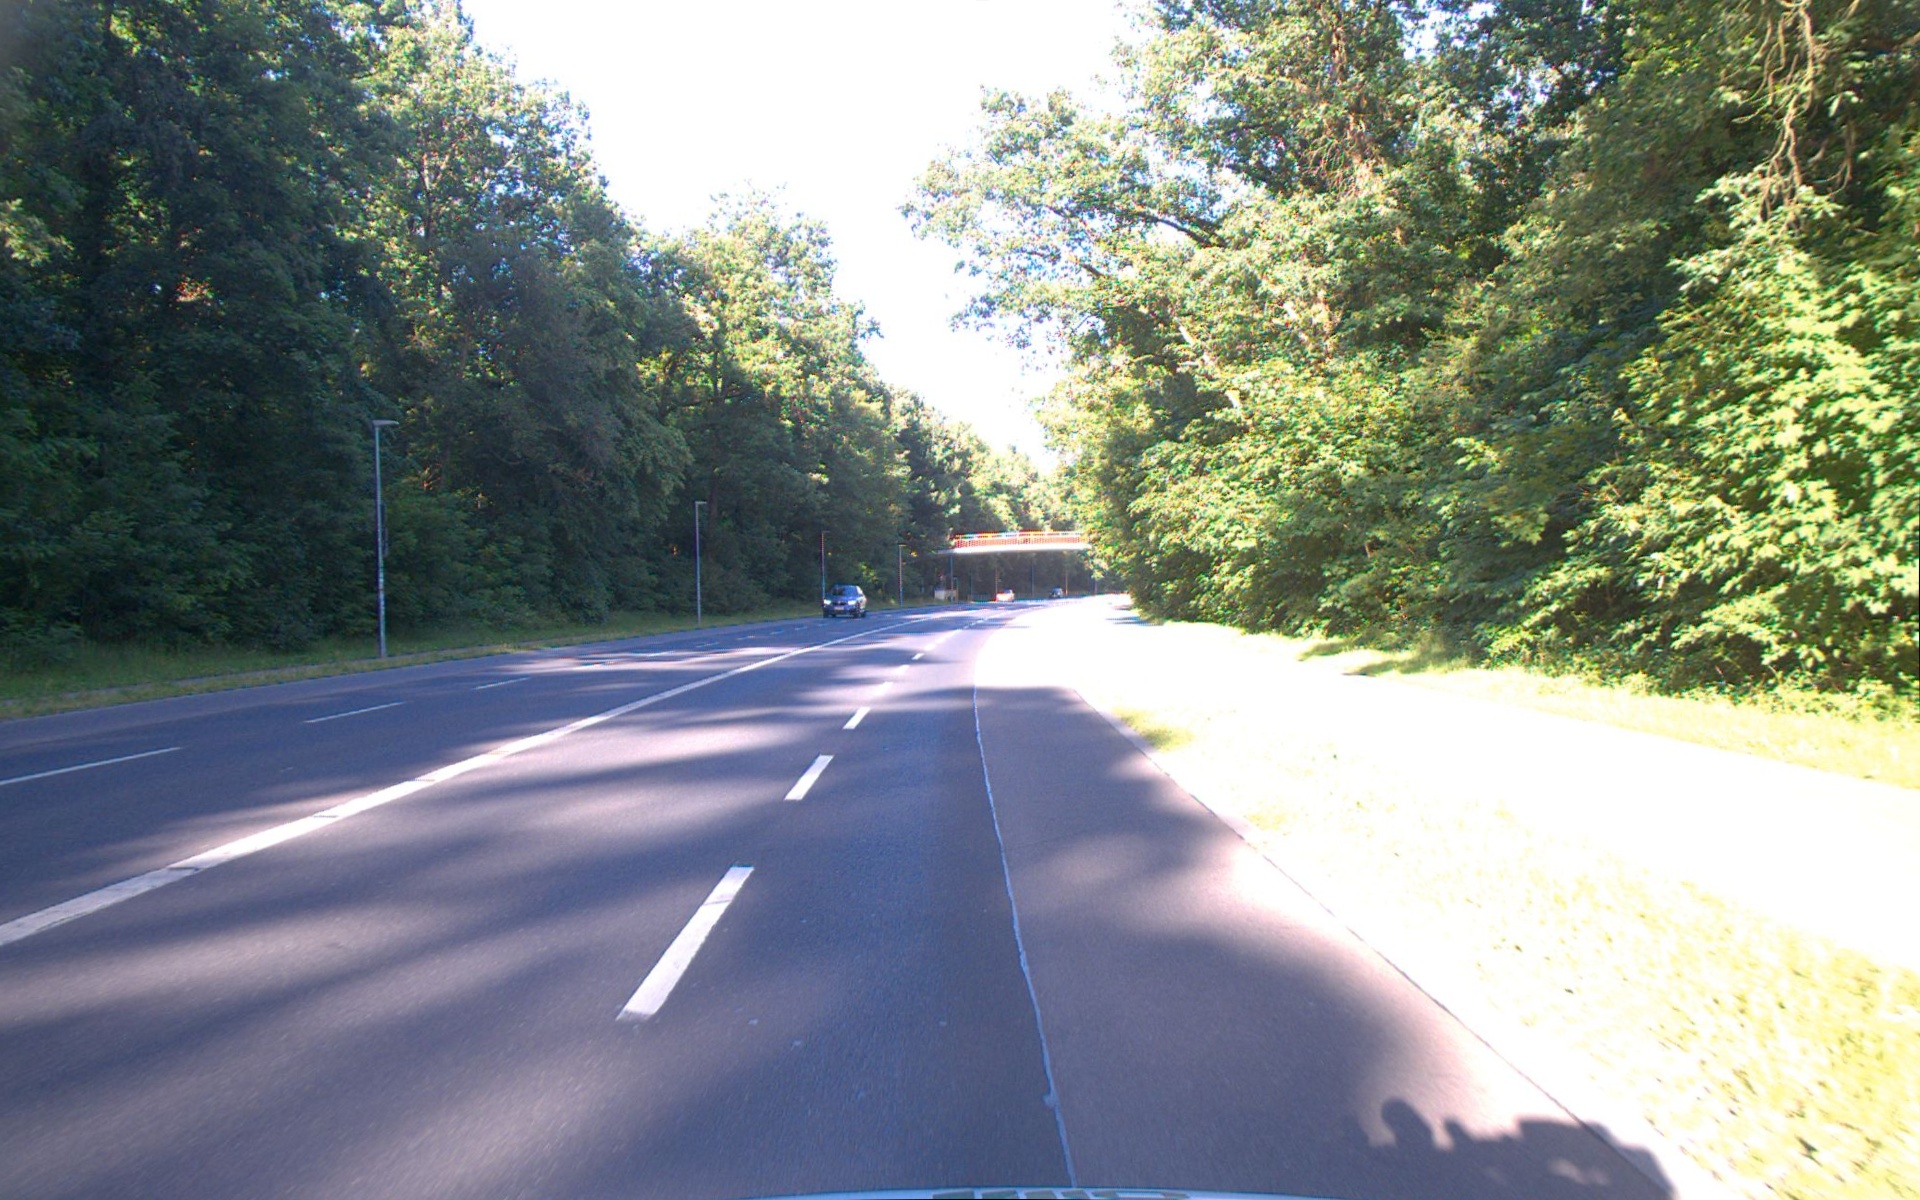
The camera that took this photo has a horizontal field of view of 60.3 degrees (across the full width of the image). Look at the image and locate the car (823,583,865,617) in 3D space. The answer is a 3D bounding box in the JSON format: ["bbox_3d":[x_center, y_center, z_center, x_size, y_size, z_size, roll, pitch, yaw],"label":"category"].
[{"bbox_3d":[-5.884,0.007,84.322,1.770,1.692,4.522,0,0,0],"label":"car"}]

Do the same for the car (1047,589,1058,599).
[{"bbox_3d":[13.025,-0.823,232.868,1.464,1.470,3.502,0,0,4],"label":"car"}]

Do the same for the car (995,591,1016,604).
[{"bbox_3d":[5.141,-0.268,184.856,1.673,1.448,4.134,0,0,12],"label":"car"}]
